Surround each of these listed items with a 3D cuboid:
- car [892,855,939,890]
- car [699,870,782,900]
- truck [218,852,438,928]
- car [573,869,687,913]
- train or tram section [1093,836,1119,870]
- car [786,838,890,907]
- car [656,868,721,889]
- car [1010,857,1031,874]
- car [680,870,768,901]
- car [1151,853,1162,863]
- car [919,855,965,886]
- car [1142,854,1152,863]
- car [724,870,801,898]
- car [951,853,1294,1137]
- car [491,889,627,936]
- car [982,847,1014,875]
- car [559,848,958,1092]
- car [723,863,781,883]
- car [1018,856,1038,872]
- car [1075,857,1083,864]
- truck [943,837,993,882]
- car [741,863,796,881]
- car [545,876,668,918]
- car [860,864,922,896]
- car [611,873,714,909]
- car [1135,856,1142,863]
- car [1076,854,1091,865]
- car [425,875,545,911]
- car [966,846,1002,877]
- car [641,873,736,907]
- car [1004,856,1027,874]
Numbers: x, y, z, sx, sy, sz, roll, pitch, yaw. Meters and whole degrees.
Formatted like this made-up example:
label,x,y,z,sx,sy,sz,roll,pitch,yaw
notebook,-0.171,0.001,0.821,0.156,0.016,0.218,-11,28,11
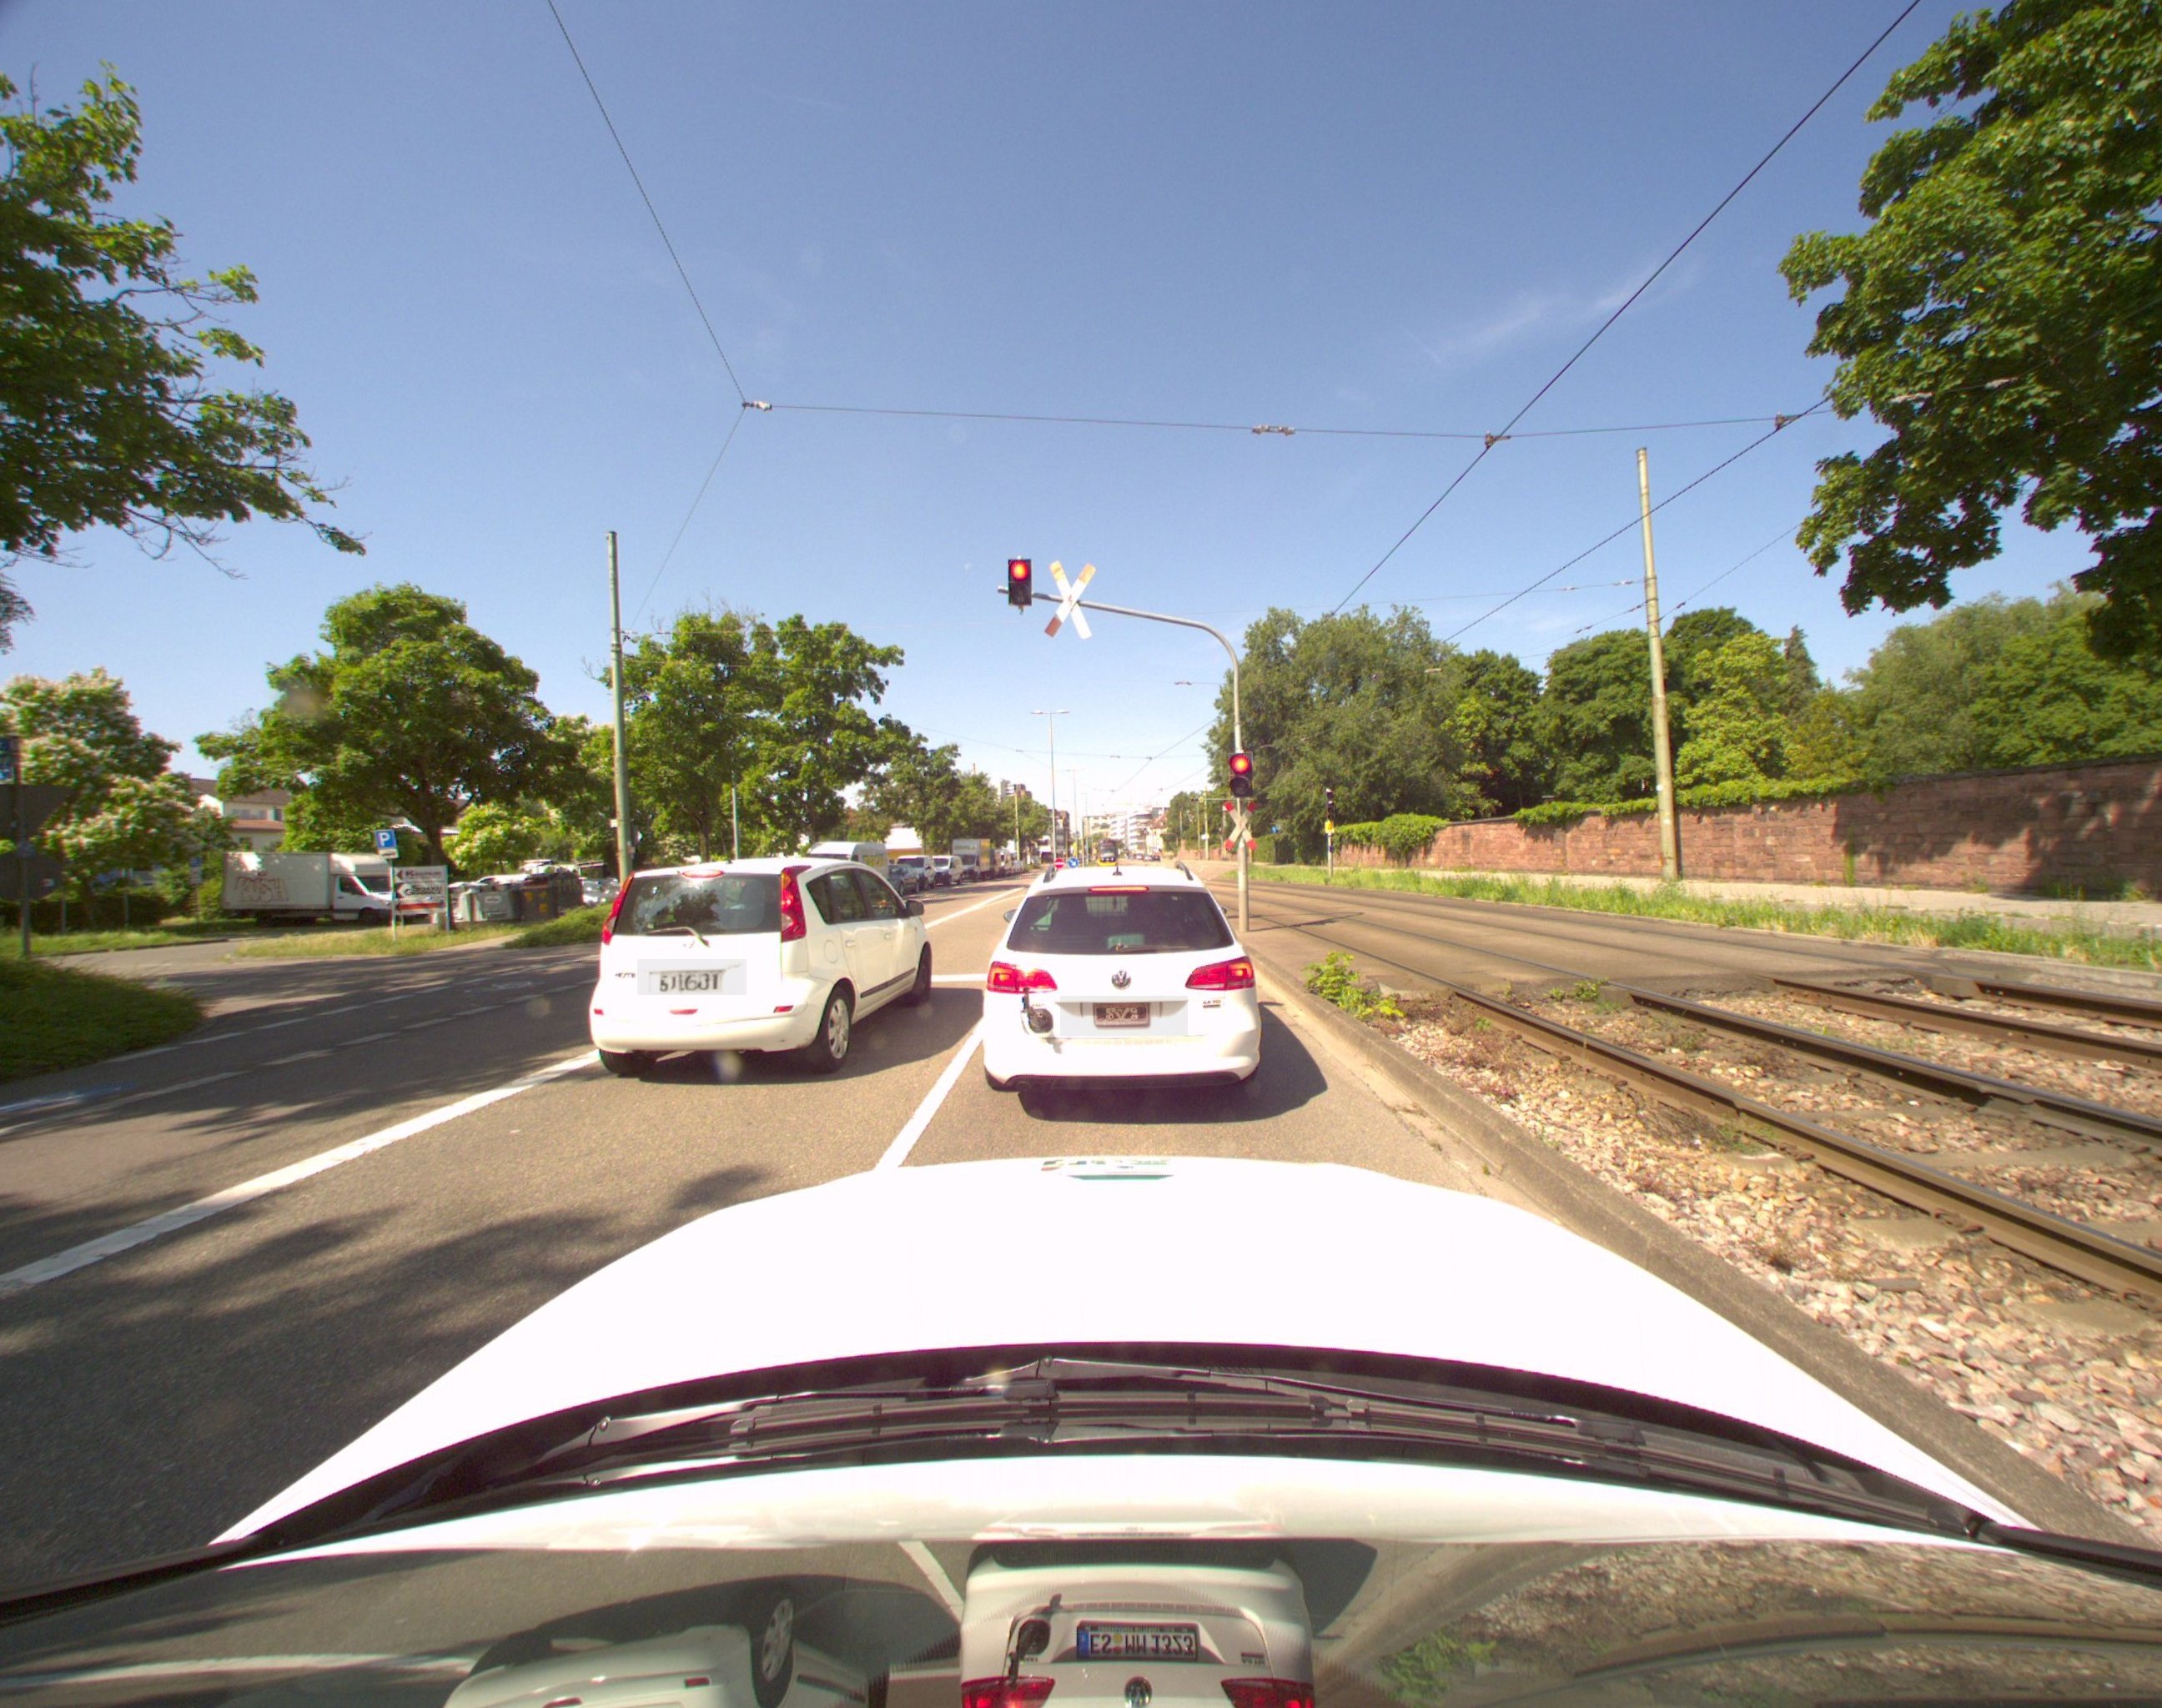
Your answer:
label,x,y,z,sx,sy,sz,roll,pitch,yaw
car,-9.185,0.980,45.550,1.859,1.868,5.068,0,0,-4
car,-19.609,1.756,47.073,3.977,1.415,1.729,-4,-1,-3
truck,-32.383,1.512,35.214,6.979,3.110,2.677,0,0,0
car,-19.916,1.619,36.076,3.977,1.610,1.729,-4,-1,-3
train or tram section,3.148,-0.136,100.965,2.860,3.855,12.396,-3,0,2
car,-9.579,0.677,32.683,2.114,2.516,5.822,0,0,3
car,-35.150,2.182,72.983,4.780,1.787,2.062,0,-1,-3
car,-6.777,1.293,92.036,1.856,1.868,5.415,0,0,1
car,-19.538,1.711,44.739,3.977,1.415,1.729,-4,-1,-3
car,15.207,0.834,164.822,1.857,1.868,5.063,0,0,1
car,-8.837,0.999,52.277,1.856,1.868,5.415,0,0,1
car,14.612,0.996,180.812,1.857,1.868,5.063,0,0,1
car,-19.462,1.810,49.889,3.977,1.415,1.729,-4,-1,-3
car,0.280,0.749,6.326,1.756,1.430,4.002,-3,0,2
car,-19.898,2.225,31.176,3.977,1.415,1.729,-4,-1,-3
car,-7.728,0.661,76.128,2.114,2.516,5.737,0,0,2
car,-2.433,0.750,7.532,1.655,1.547,4.550,-1,0,3
car,-31.477,1.805,78.022,4.780,1.787,2.062,0,-1,-3
car,-6.396,1.191,98.949,1.856,1.868,5.415,0,0,1
car,-0.559,1.597,204.281,1.702,1.473,4.583,-3,0,-3
truck,-8.334,0.364,60.697,2.411,3.150,7.001,0,0,2
car,-31.777,1.845,82.785,4.780,1.787,2.062,0,-1,-3
car,-19.666,1.759,33.843,3.977,1.415,1.729,-4,-1,-3
car,-9.057,1.212,39.110,1.856,1.415,4.281,0,0,1
car,-20.295,1.795,39.612,3.977,1.415,1.729,-4,-1,-3
car,16.601,1.494,234.968,1.857,1.868,5.063,0,0,1
car,0.352,0.739,113.084,1.698,1.473,4.593,-3,0,3
car,-31.768,2.038,43.533,4.780,1.787,2.062,0,-1,-3
car,-8.149,0.602,68.697,2.114,2.516,5.737,0,0,2
car,-20.287,1.858,42.222,3.977,1.415,1.729,-4,-1,-3
car,-6.828,1.115,85.219,1.856,1.868,5.415,0,0,1
